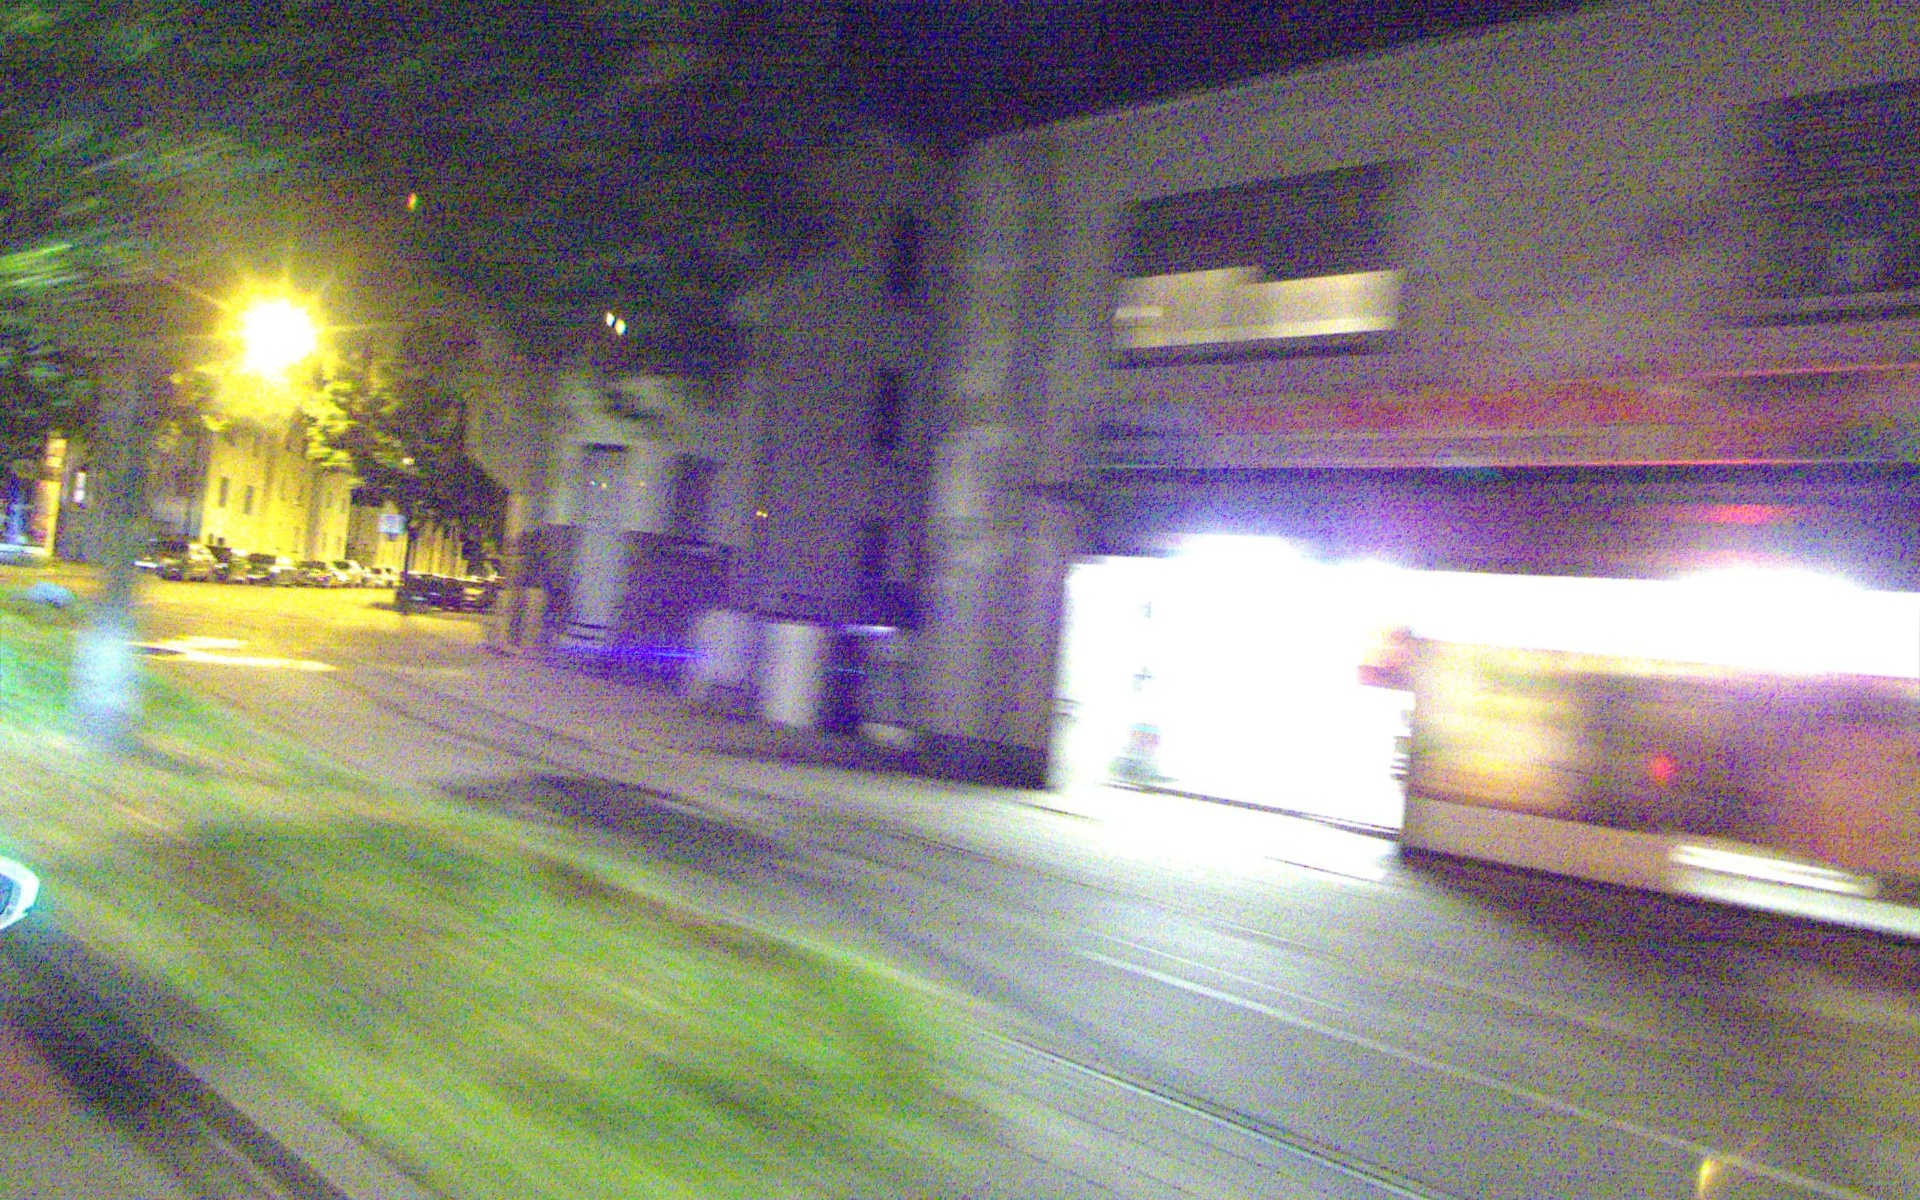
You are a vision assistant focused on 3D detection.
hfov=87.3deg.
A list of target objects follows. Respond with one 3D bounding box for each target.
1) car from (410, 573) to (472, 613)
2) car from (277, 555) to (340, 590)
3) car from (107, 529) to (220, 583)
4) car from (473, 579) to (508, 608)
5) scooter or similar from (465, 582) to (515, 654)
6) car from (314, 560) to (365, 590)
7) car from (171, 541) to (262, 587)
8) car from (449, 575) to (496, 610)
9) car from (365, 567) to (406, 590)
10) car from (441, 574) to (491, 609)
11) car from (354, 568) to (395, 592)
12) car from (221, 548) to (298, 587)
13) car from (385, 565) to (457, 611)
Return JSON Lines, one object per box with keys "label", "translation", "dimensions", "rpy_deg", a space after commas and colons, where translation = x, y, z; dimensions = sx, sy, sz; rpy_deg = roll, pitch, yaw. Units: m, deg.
{"label": "car", "translation": [-22.445, -0.289, 43.625], "dimensions": [1.778, 1.433, 3.822], "rpy_deg": [8, -3, -20]}
{"label": "car", "translation": [-33.426, -1.373, 51.744], "dimensions": [1.751, 1.433, 3.903], "rpy_deg": [8, -3, -20]}
{"label": "car", "translation": [-27.178, -1.459, 34.466], "dimensions": [1.778, 1.433, 3.822], "rpy_deg": [8, -3, -20]}
{"label": "car", "translation": [-33.823, -0.465, 72.415], "dimensions": [1.977, 1.783, 3.975], "rpy_deg": [9, -3, -27]}
{"label": "scooter or similar", "translation": [-8.360, 0.305, 17.875], "dimensions": [0.495, 1.160, 1.652], "rpy_deg": [5, 0, -33]}
{"label": "car", "translation": [-37.499, -1.476, 60.904], "dimensions": [1.751, 1.518, 3.903], "rpy_deg": [8, -3, -20]}
{"label": "car", "translation": [-29.428, -1.396, 39.941], "dimensions": [1.778, 1.433, 3.822], "rpy_deg": [8, -3, -20]}
{"label": "car", "translation": [-28.443, -0.435, 58.801], "dimensions": [1.973, 1.723, 4.014], "rpy_deg": [8, -3, -21]}
{"label": "car", "translation": [-43.869, -1.604, 76.865], "dimensions": [1.749, 1.457, 3.907], "rpy_deg": [8, -3, -17]}
{"label": "car", "translation": [-26.474, -0.442, 54.050], "dimensions": [1.777, 1.597, 3.824], "rpy_deg": [8, -3, -19]}
{"label": "car", "translation": [-42.021, -1.413, 72.285], "dimensions": [1.751, 1.457, 3.903], "rpy_deg": [8, -3, -20]}
{"label": "car", "translation": [-31.339, -1.401, 45.137], "dimensions": [1.752, 1.355, 3.903], "rpy_deg": [10, -3, -20]}
{"label": "car", "translation": [-20.677, -0.439, 38.748], "dimensions": [1.778, 1.433, 3.822], "rpy_deg": [8, -3, -20]}
